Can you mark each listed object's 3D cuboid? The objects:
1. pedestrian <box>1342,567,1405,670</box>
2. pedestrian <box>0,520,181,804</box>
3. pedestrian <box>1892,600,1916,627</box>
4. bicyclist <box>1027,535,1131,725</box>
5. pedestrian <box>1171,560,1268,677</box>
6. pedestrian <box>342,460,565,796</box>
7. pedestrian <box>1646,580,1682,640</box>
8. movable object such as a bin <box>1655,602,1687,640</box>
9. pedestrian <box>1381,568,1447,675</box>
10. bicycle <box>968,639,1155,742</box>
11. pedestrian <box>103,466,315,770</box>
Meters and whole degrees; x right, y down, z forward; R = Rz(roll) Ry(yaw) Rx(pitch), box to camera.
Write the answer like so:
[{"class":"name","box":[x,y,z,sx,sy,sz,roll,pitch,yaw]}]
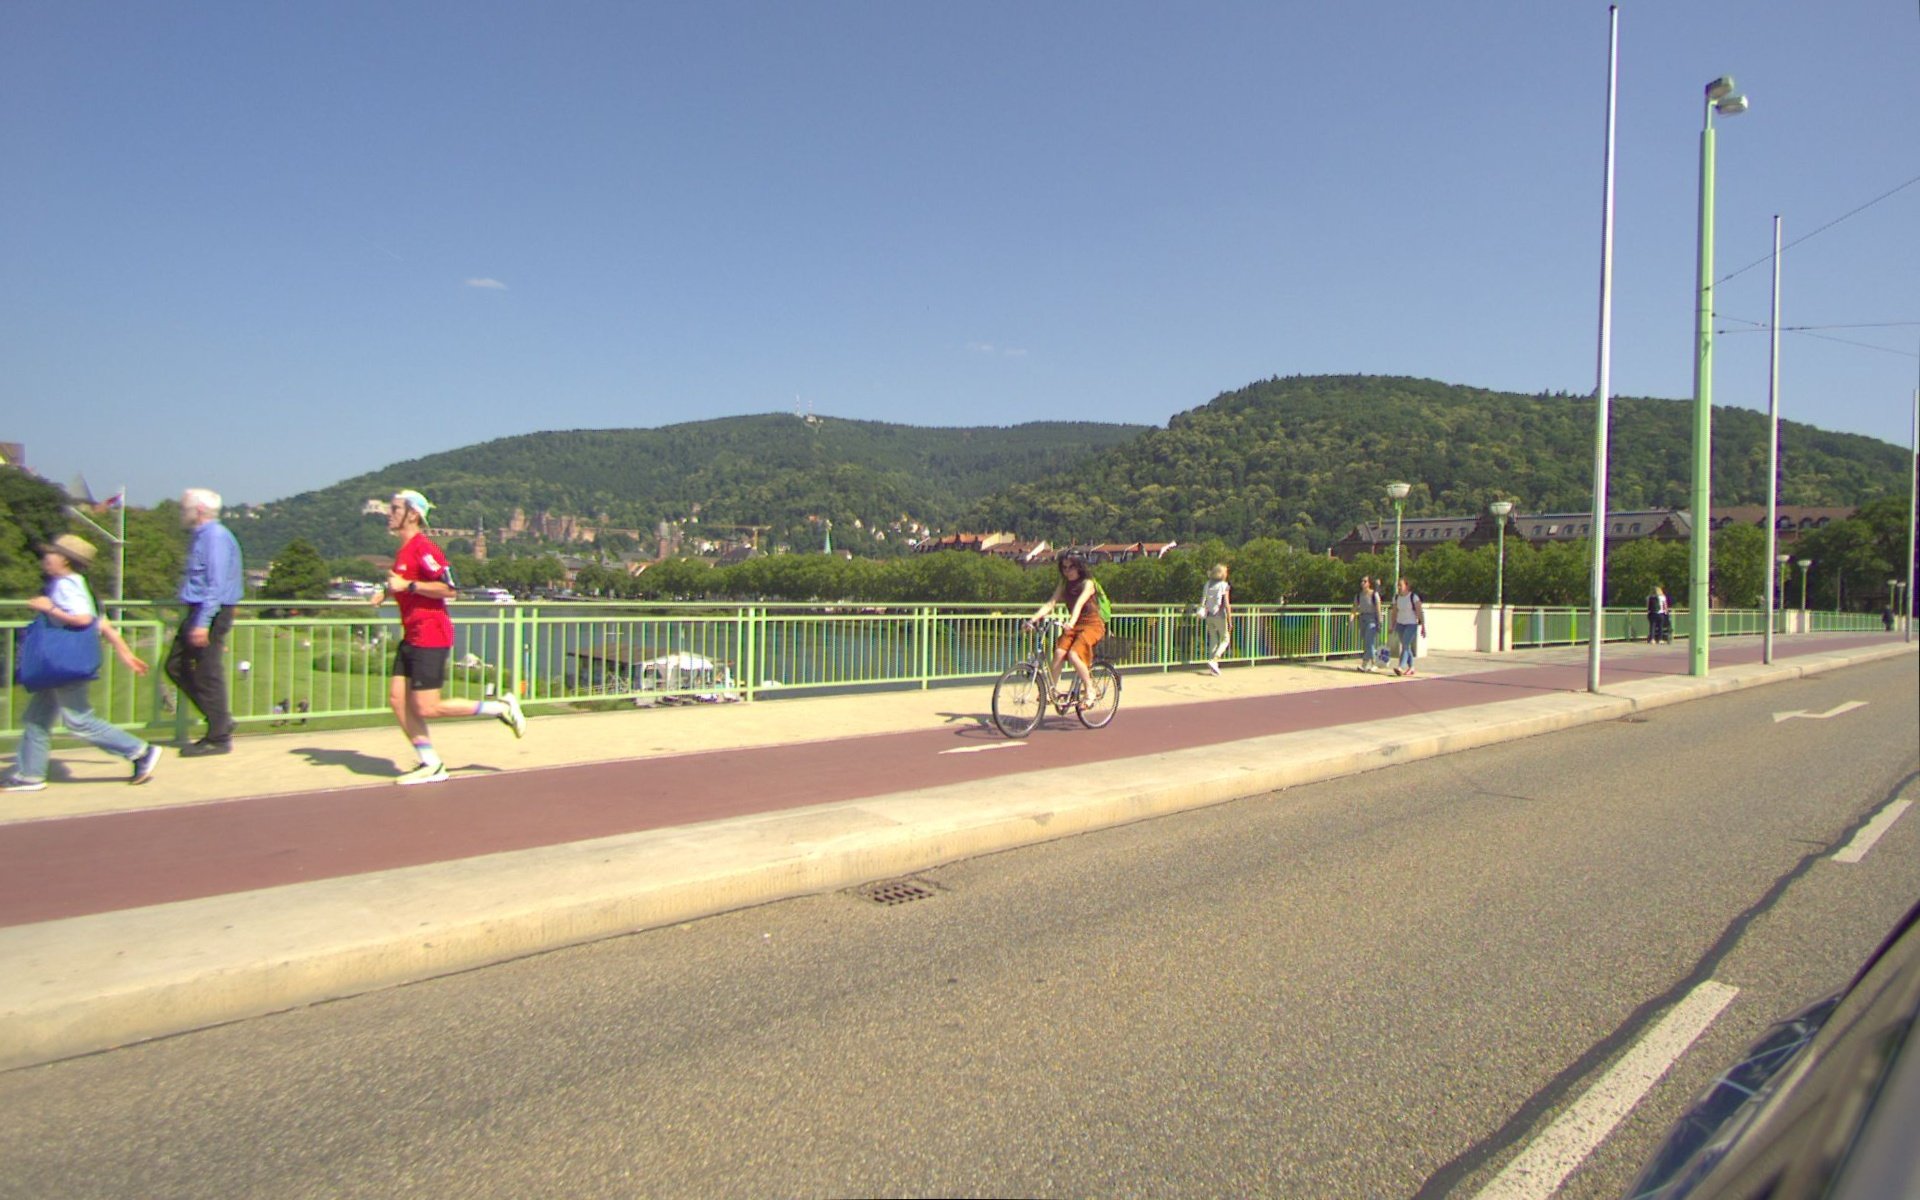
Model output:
[{"class":"pedestrian","box":[6.969,0.294,17.057,0.733,1.679,0.668,0,2,-41]},{"class":"pedestrian","box":[-5.249,0.318,6.023,0.917,1.548,0.831,1,2,-41]},{"class":"pedestrian","box":[60.006,0.855,64.316,1.063,1.683,0.949,1,2,-41]},{"class":"bicyclist","box":[1.094,0.253,9.341,0.689,1.671,0.606,0,2,-40]},{"class":"pedestrian","box":[3.942,0.259,15.380,1.063,1.683,0.949,1,2,-41]},{"class":"pedestrian","box":[-3.272,0.149,6.544,1.108,1.948,0.812,0,2,-41]},{"class":"pedestrian","box":[21.037,0.290,30.250,0.844,1.727,0.664,0,2,-41]},{"class":"movable object such as a bin","box":[21.633,0.634,30.799,0.917,1.104,0.583,1,1,-42]},{"class":"pedestrian","box":[7.413,0.326,16.516,0.810,1.679,0.664,0,2,-41]},{"class":"bicycle","box":[0.964,0.786,9.256,1.834,0.775,0.595,0,2,-41]},{"class":"pedestrian","box":[-5.280,0.100,7.115,1.117,1.921,0.927,1,1,-41]}]
